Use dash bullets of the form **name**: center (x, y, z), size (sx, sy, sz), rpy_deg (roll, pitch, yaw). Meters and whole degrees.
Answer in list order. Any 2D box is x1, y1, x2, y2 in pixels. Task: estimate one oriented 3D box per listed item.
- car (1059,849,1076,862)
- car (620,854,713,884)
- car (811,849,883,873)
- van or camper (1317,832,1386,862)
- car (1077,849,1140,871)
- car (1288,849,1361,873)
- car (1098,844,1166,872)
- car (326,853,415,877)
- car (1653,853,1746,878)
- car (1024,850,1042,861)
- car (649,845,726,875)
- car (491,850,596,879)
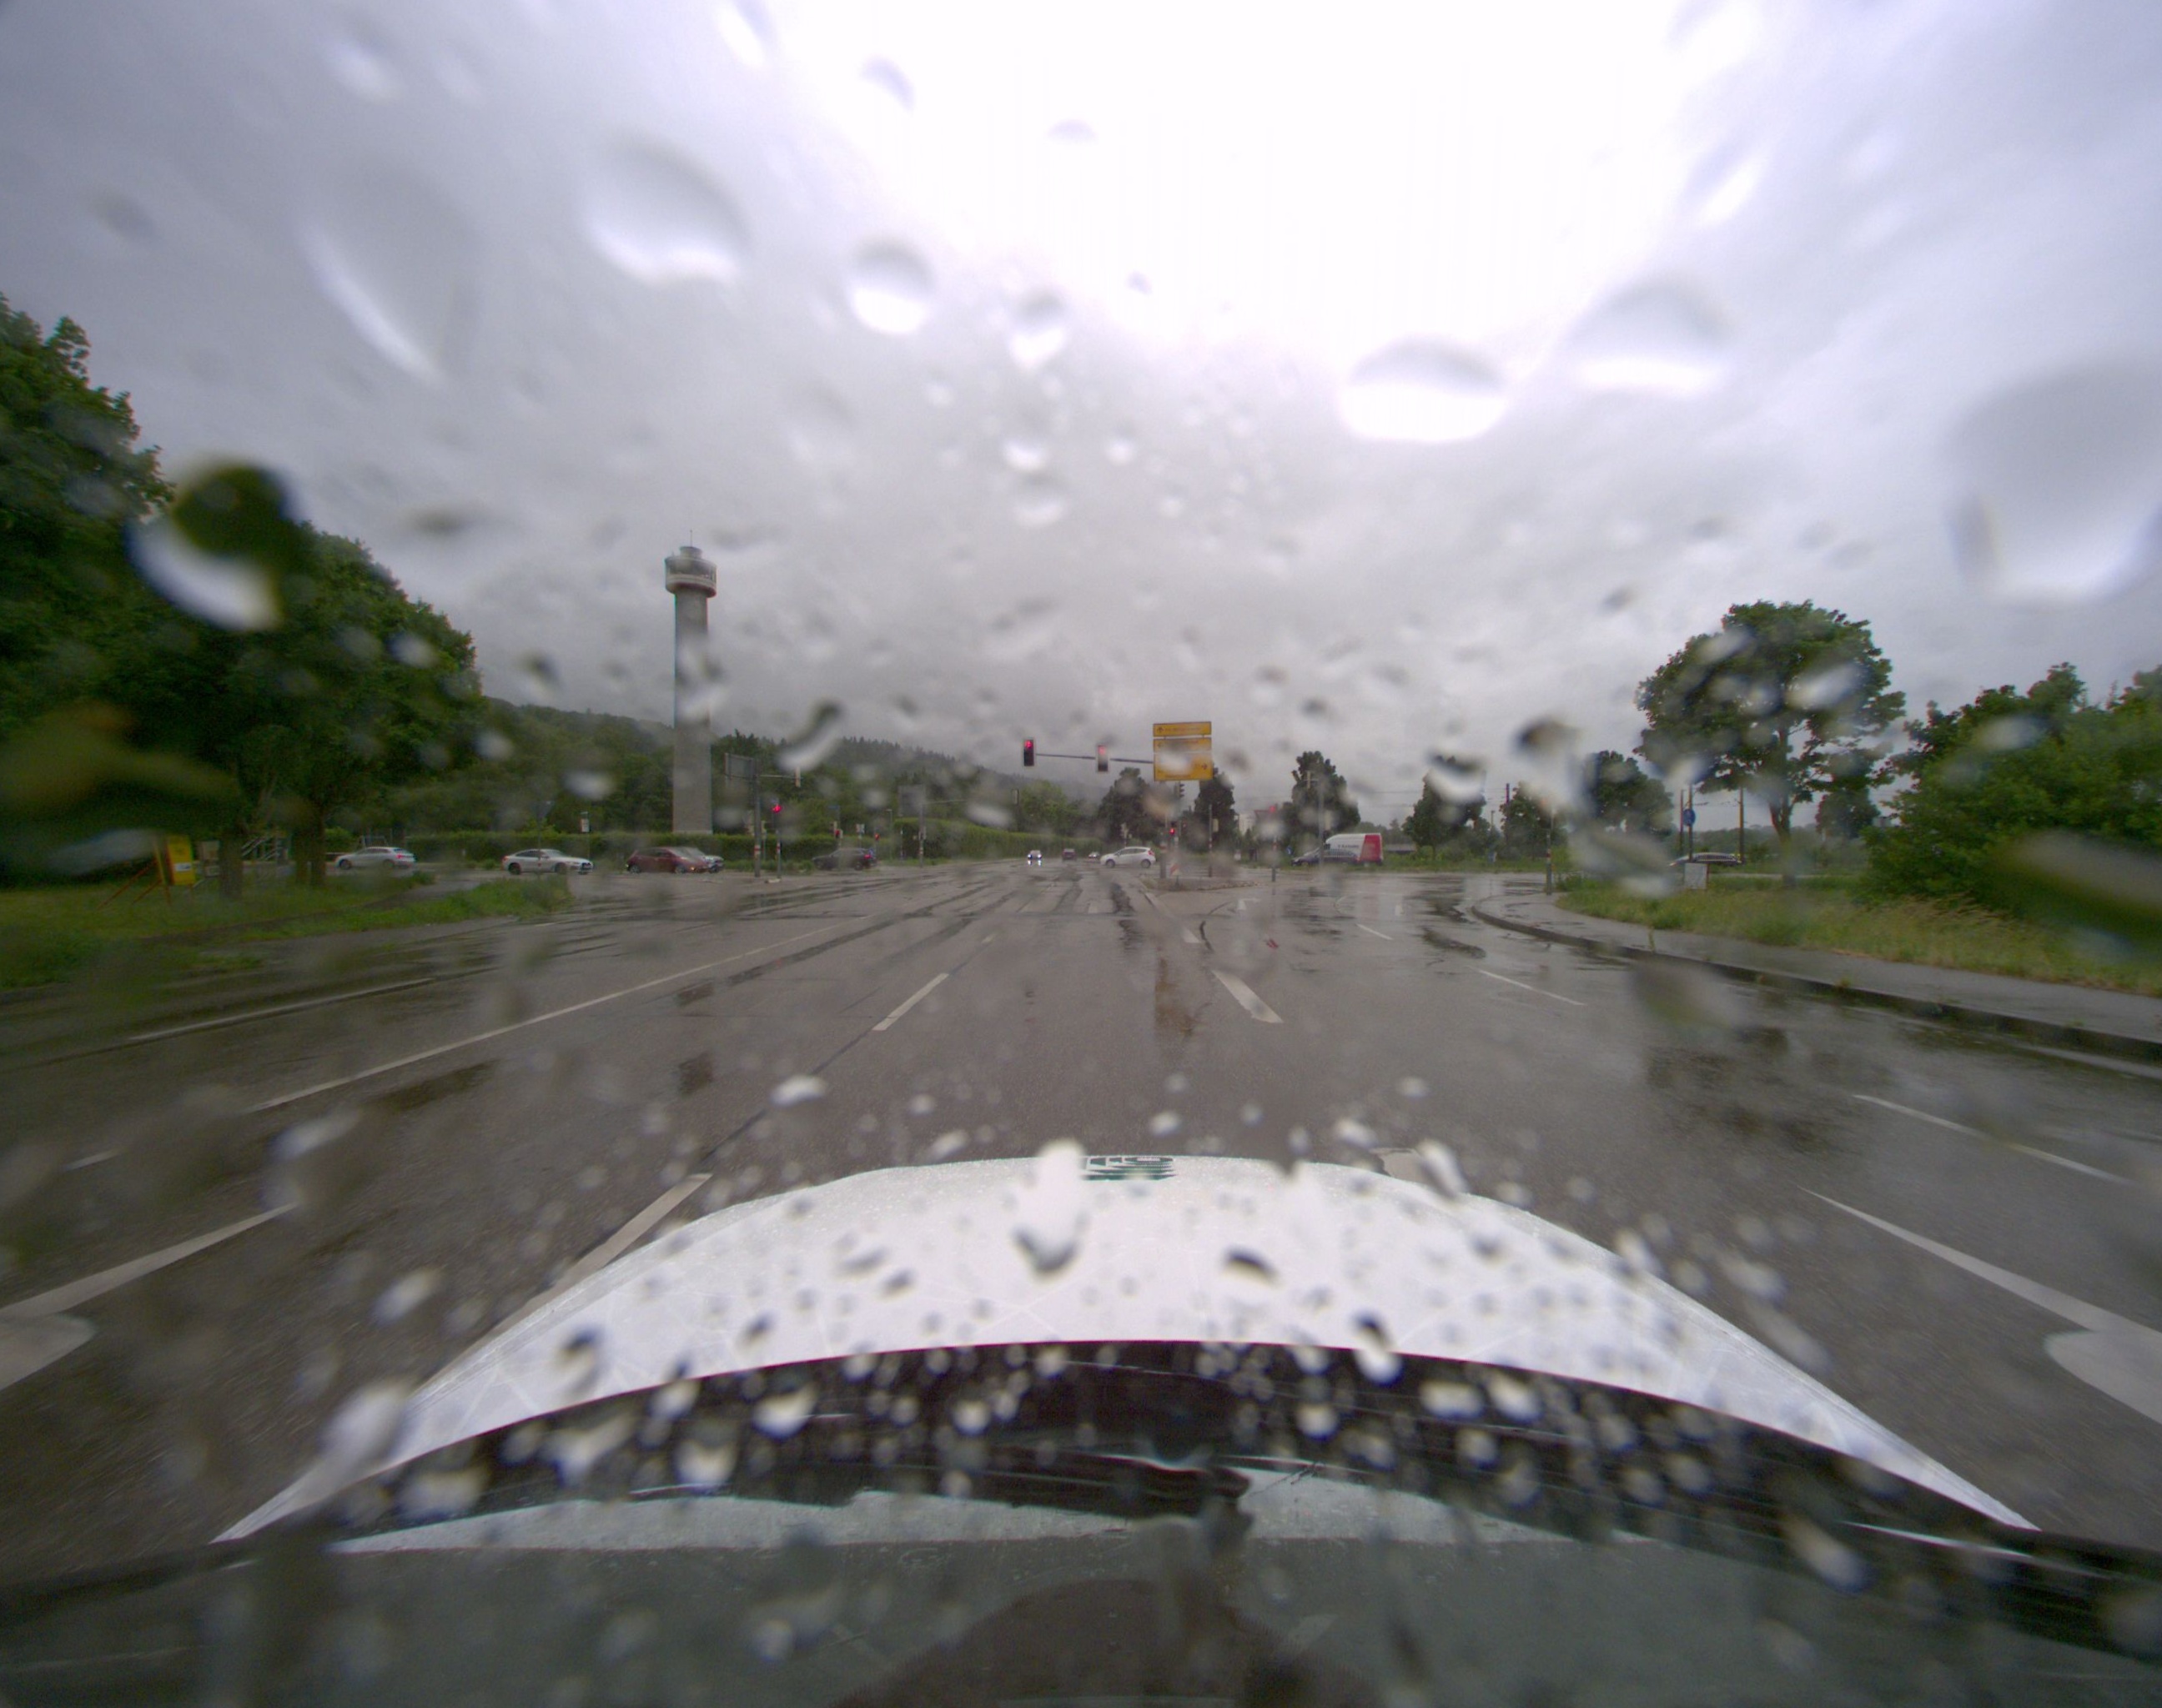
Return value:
- **car**: center (-1.676, 0.124, 104.640), size (1.871, 1.573, 4.647), rpy_deg (-2, 0, 2)
- **car**: center (-22.935, 0.789, 45.138), size (4.350, 1.579, 1.737), rpy_deg (0, 1, 8)
- **car**: center (-16.929, 0.483, 59.128), size (4.657, 1.639, 1.821), rpy_deg (-1, 1, -2)
- **van or camper**: center (20.329, -0.543, 61.160), size (4.808, 2.169, 2.171), rpy_deg (0, 1, 20)
- **car**: center (2.073, 0.453, 61.117), size (4.648, 1.553, 1.825), rpy_deg (-1, 1, 4)
- **car**: center (16.795, 0.462, 56.291), size (4.644, 1.553, 1.826), rpy_deg (-1, 1, 7)
- **car**: center (3.632, 0.274, 57.390), size (4.645, 1.915, 1.919), rpy_deg (-1, 1, 7)
- **car**: center (-49.838, 0.773, 57.183), size (4.379, 1.579, 1.725), rpy_deg (0, 1, -13)
- **car**: center (40.342, 0.720, 53.183), size (4.649, 1.553, 1.825), rpy_deg (-1, 1, 4)
- **car**: center (-6.910, 0.189, 117.028), size (1.870, 1.573, 4.652), rpy_deg (-2, 0, 5)
- **car**: center (-23.477, 0.353, 48.701), size (3.779, 1.711, 1.750), rpy_deg (0, 0, 8)
- **car**: center (-30.222, 0.562, 45.832), size (4.855, 1.553, 1.803), rpy_deg (-1, 1, 7)
